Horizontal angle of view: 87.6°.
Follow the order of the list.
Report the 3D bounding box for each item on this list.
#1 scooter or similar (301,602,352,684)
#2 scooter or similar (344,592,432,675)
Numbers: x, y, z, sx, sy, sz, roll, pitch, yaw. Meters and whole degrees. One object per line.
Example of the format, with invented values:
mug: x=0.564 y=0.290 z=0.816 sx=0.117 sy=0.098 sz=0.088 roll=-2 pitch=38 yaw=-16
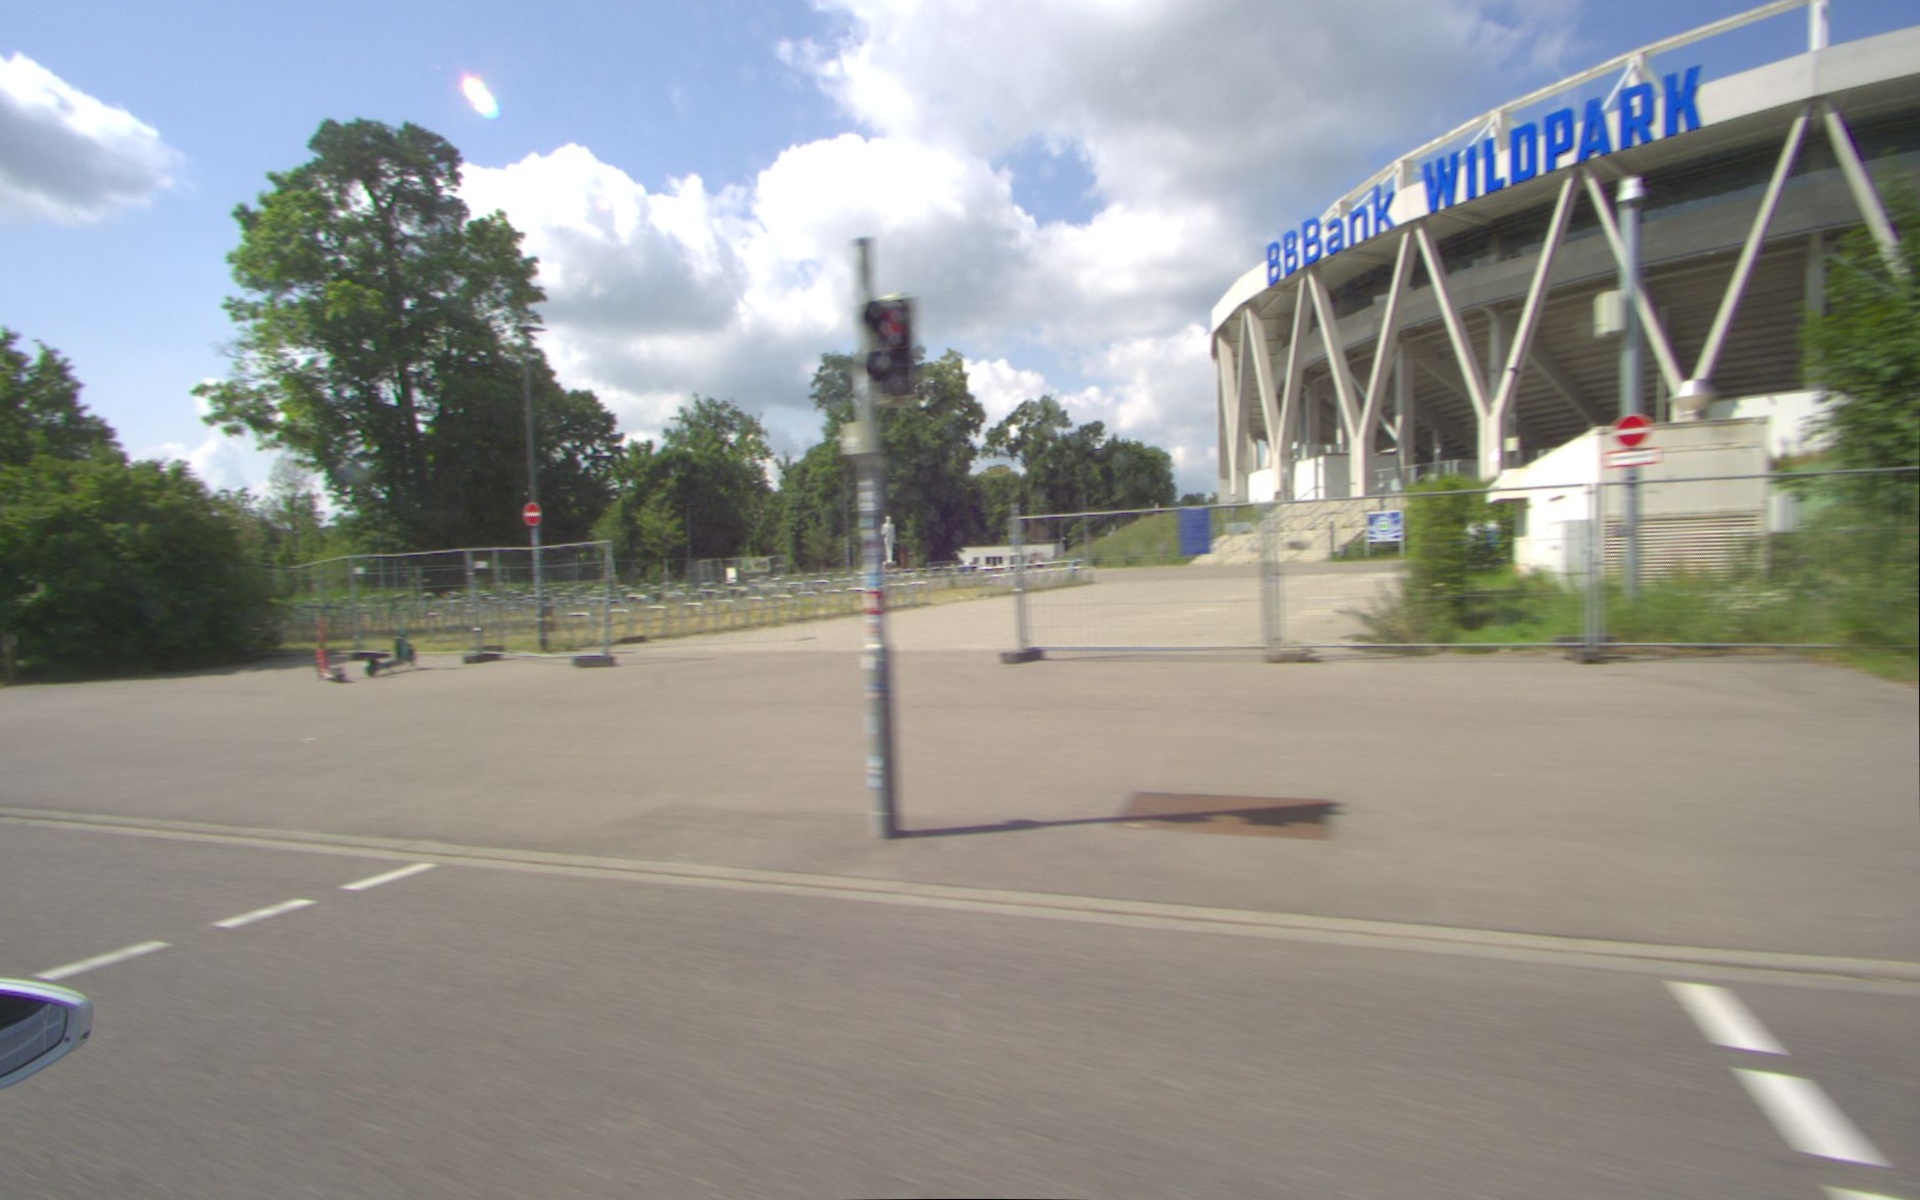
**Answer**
scooter or similar: x=-9.982 y=0.652 z=15.766 sx=0.403 sy=1.217 sz=1.299 roll=-5 pitch=4 yaw=-42
scooter or similar: x=-9.505 y=0.536 z=16.696 sx=0.400 sy=1.269 sz=1.309 roll=-1 pitch=3 yaw=15
